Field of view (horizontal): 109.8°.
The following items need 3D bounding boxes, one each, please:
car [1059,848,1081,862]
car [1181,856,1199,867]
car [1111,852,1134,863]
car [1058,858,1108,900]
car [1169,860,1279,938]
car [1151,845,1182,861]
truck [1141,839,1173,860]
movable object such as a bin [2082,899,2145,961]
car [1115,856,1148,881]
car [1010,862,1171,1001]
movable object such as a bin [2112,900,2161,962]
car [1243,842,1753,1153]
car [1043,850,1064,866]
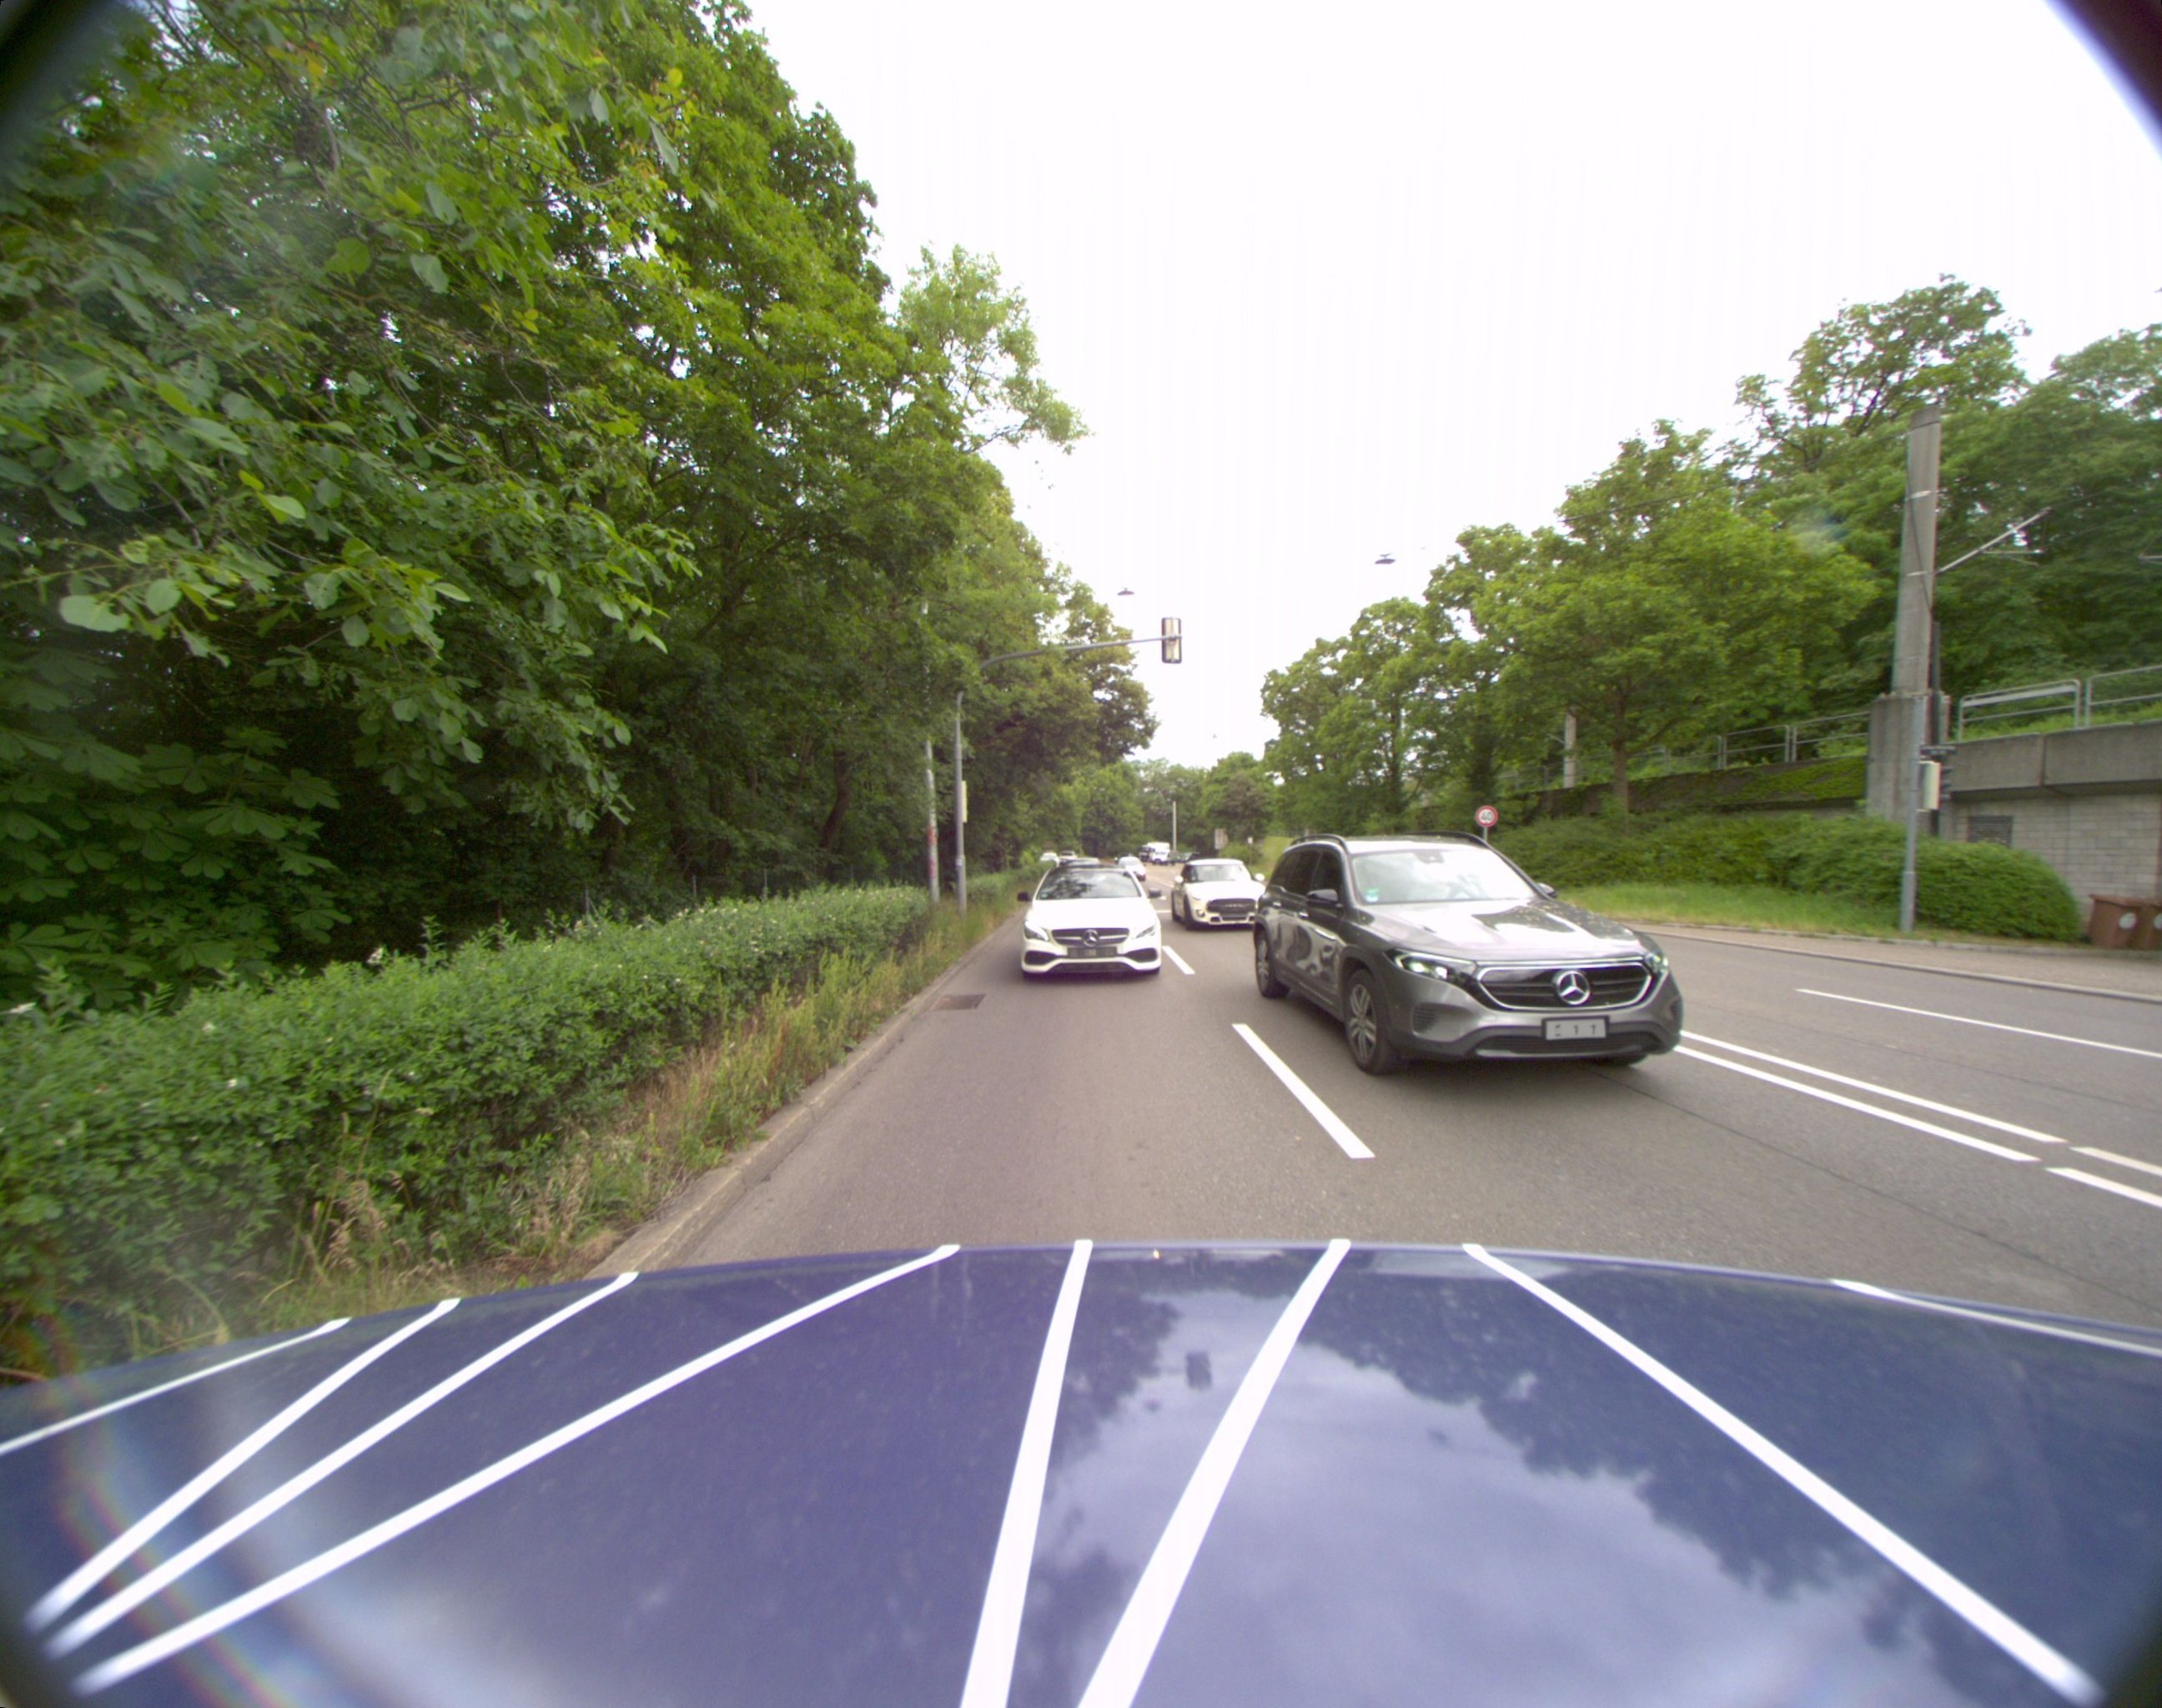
[{"bbox_3d":[-1.196,0.113,87.355,1.754,1.575,4.014,1,0,10],"label":"car"},{"bbox_3d":[17.673,1.162,123.096,1.775,1.789,4.007,0,0,23],"label":"car"},{"bbox_3d":[5.579,0.484,100.808,1.762,1.433,3.899,2,0,24],"label":"car"},{"bbox_3d":[0.143,0.926,29.855,1.755,1.417,4.010,3,1,2],"label":"car"},{"bbox_3d":[2.954,0.875,16.433,1.688,1.415,3.733,-1,0,0],"label":"car"},{"bbox_3d":[12.027,-0.184,106.450,2.281,2.187,6.469,-1,0,26],"label":"car"},{"bbox_3d":[12.064,-0.719,120.055,2.195,3.137,6.665,2,0,33],"label":"truck"},{"bbox_3d":[18.330,1.335,13.491,0.419,1.057,0.503,0,1,-4],"label":"movable object such as a bin"},{"bbox_3d":[2.977,0.837,45.487,1.664,1.382,4.182,-1,0,-1],"label":"car"},{"bbox_3d":[0.137,0.918,10.769,1.801,1.470,4.010,-2,0,1],"label":"car"},{"bbox_3d":[18.983,1.367,13.577,0.419,1.057,0.503,0,1,-4],"label":"movable object such as a bin"},{"bbox_3d":[2.703,0.770,6.260,1.854,1.641,4.357,-1,0,1],"label":"car"},{"bbox_3d":[-2.627,0.344,72.562,1.765,1.433,3.892,1,0,1],"label":"car"}]
